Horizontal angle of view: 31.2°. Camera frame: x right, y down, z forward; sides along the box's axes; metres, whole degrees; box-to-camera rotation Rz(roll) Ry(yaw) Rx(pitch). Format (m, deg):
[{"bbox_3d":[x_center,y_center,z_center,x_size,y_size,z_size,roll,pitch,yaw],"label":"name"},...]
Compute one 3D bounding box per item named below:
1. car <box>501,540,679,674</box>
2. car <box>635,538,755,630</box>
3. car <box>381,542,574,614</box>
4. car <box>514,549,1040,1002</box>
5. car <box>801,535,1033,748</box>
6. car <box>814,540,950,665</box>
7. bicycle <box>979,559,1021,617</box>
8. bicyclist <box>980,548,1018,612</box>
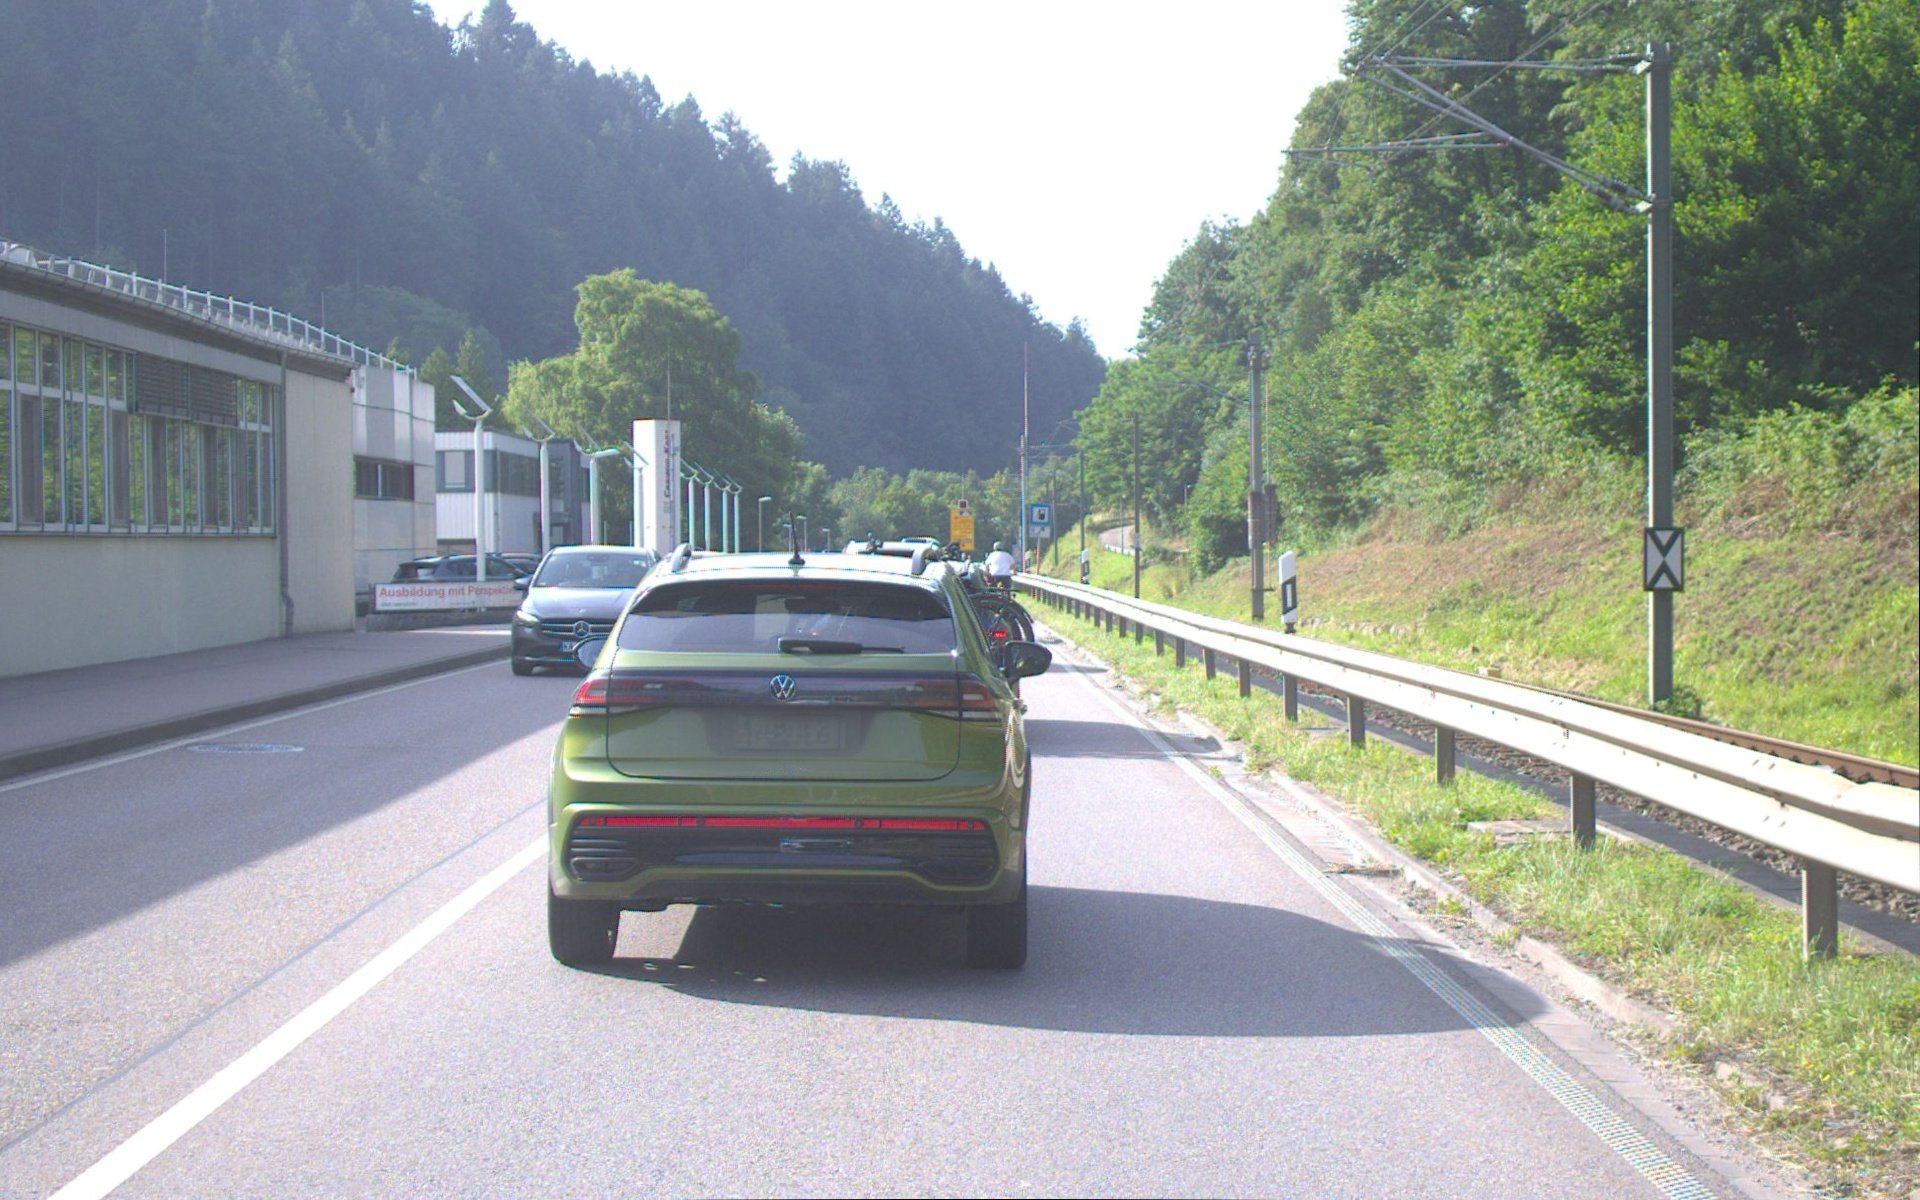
[{"bbox_3d":[-4.432,0.044,41.689,1.719,1.509,4.199,1,1,-1],"label":"car"},{"bbox_3d":[-4.537,-0.299,59.220,1.773,1.485,4.052,1,1,-1],"label":"car"},{"bbox_3d":[-11.030,-0.525,78.801,1.887,1.586,4.165,1,1,41],"label":"car"},{"bbox_3d":[-0.658,0.555,13.426,1.739,1.503,4.000,0,1,-1],"label":"car"},{"bbox_3d":[-0.373,0.282,27.906,1.739,1.596,4.000,0,1,-1],"label":"car"},{"bbox_3d":[-1.053,0.004,46.336,1.739,1.596,4.000,0,1,-1],"label":"car"},{"bbox_3d":[0.865,-0.269,75.324,0.811,1.246,2.123,0,1,-2],"label":"bicycle"},{"bbox_3d":[0.853,-0.444,75.596,0.781,1.407,0.675,0,1,-2],"label":"bicyclist"}]
